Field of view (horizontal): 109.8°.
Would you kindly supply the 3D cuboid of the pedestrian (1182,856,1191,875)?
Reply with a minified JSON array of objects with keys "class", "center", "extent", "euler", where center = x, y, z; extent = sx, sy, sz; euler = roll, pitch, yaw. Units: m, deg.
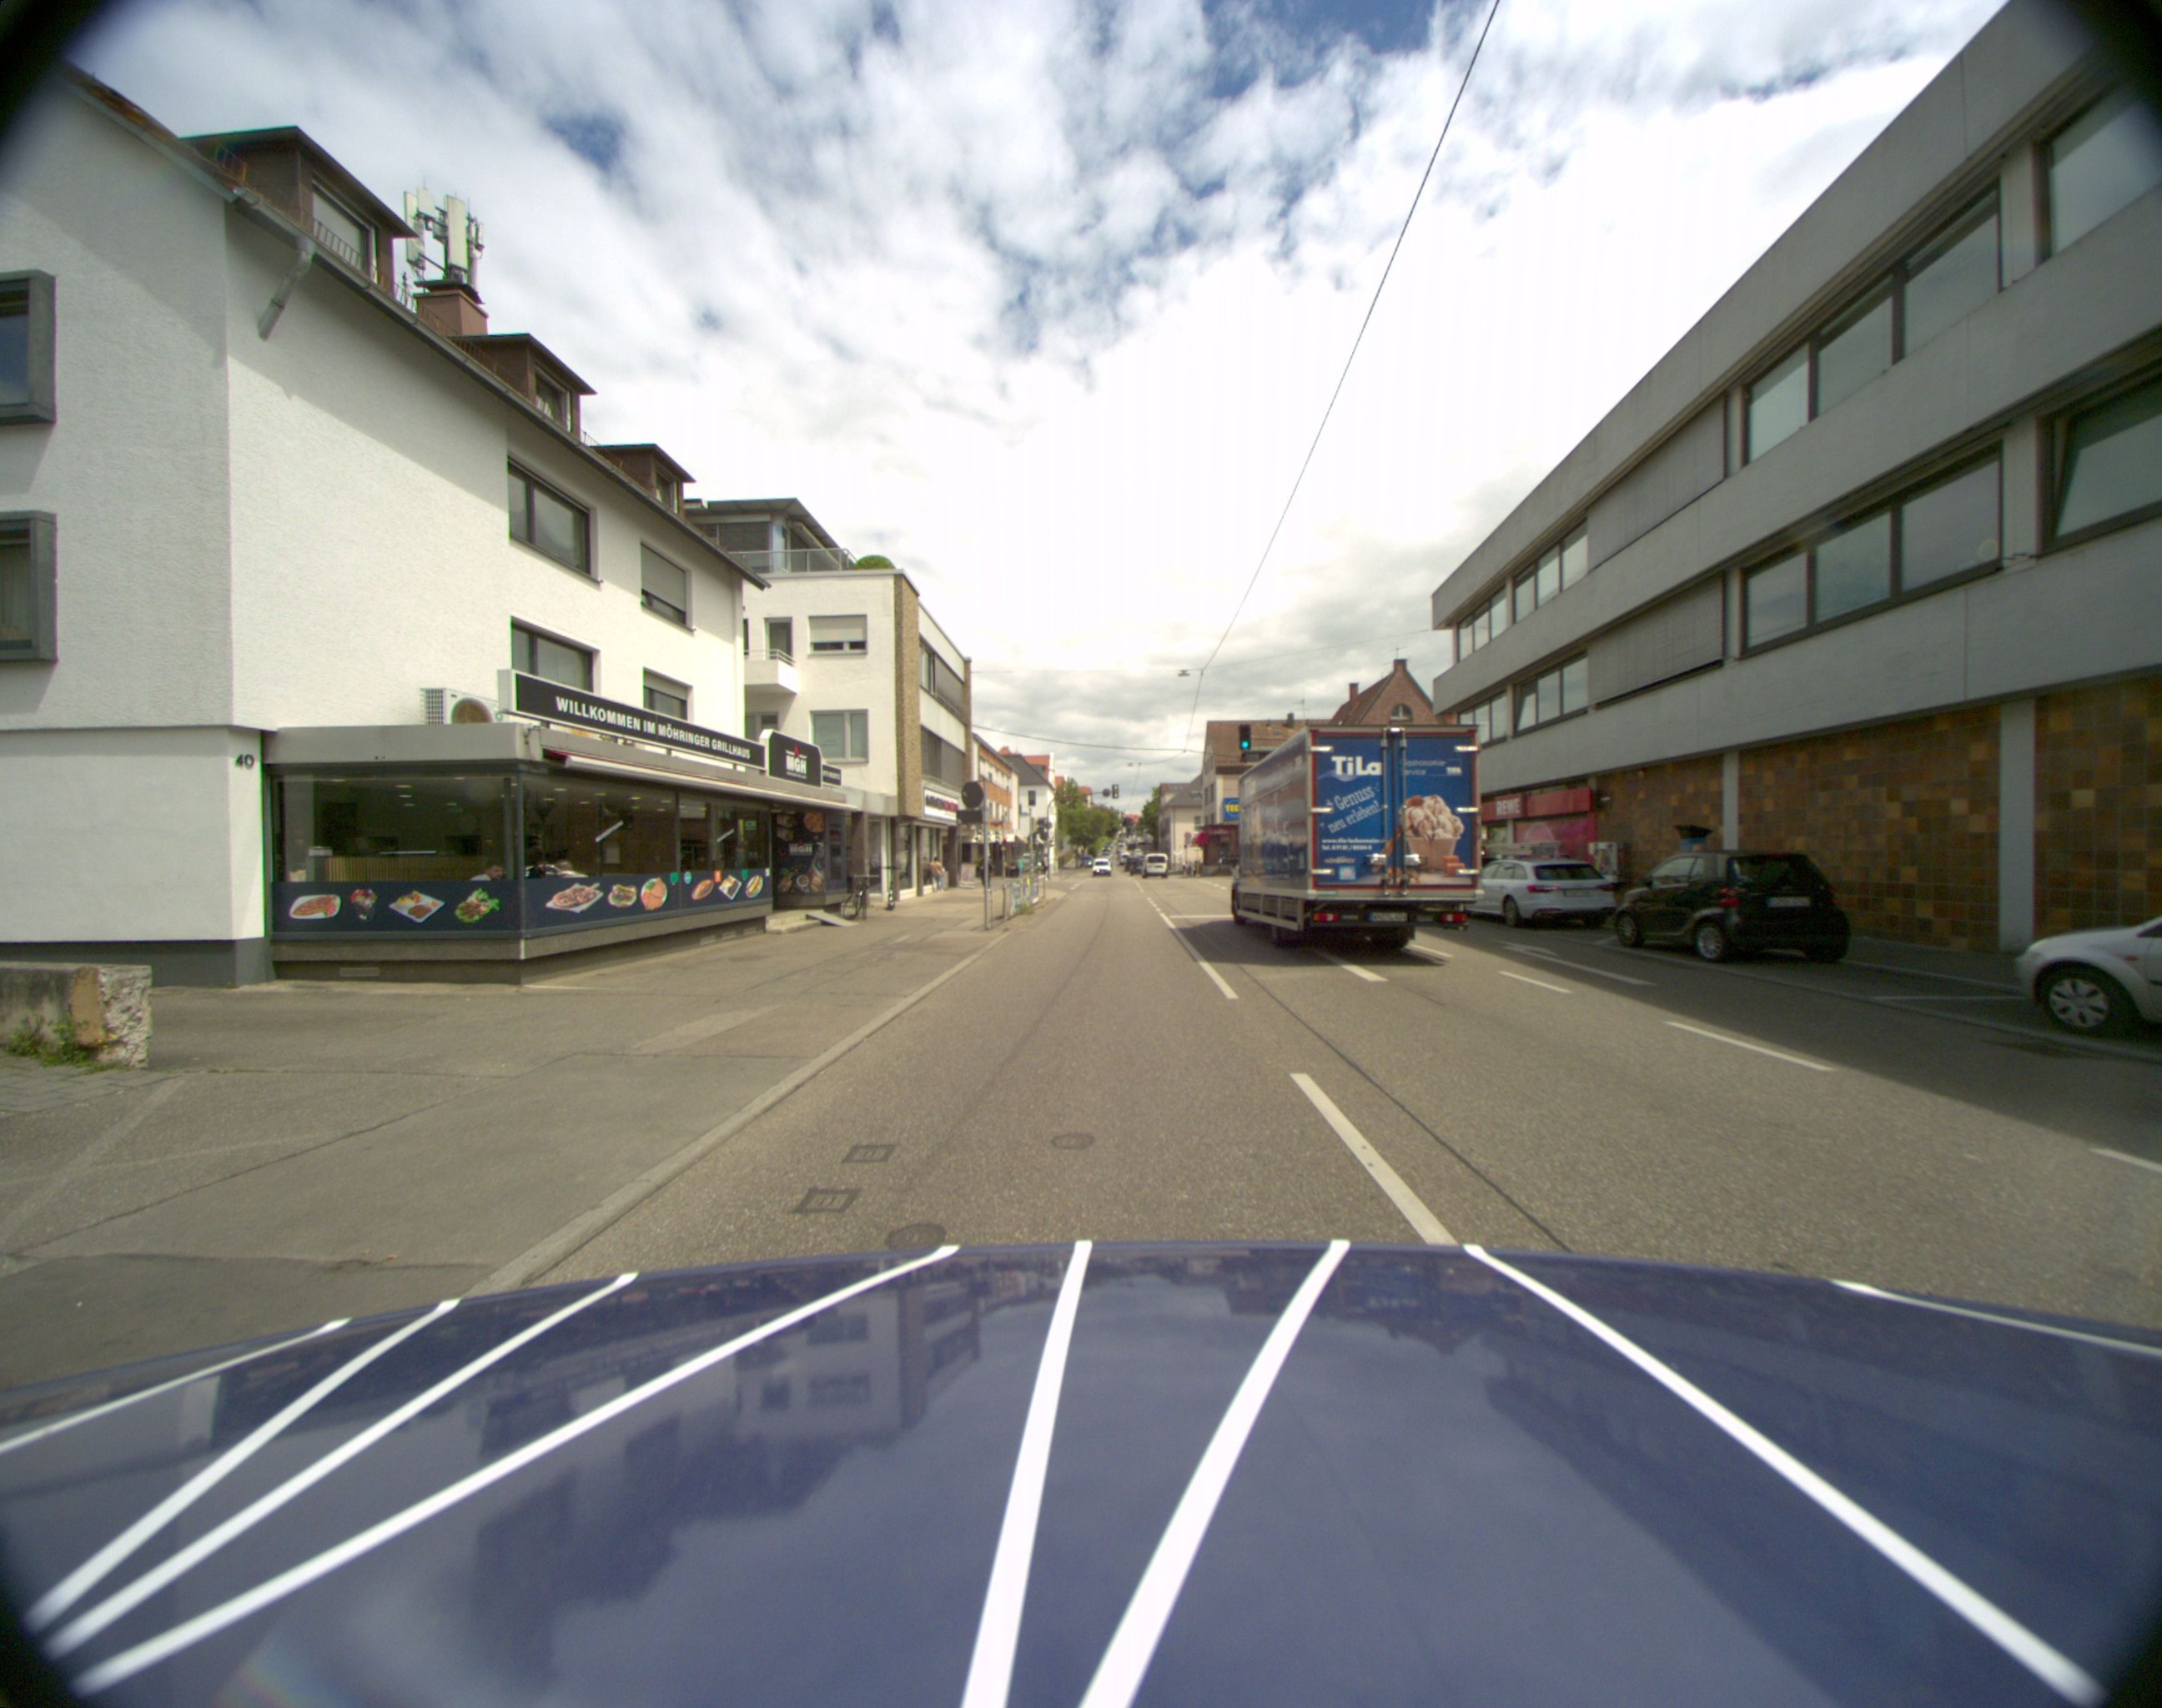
[{"class":"pedestrian","center":[9.331,1.017,67.438],"extent":[0.778,1.685,0.796],"euler":[0,0,9]}]

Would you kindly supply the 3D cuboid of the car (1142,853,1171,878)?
[{"class":"car","center":[5.763,0.850,58.529],"extent":[1.950,1.810,4.279],"euler":[0,0,3]}]

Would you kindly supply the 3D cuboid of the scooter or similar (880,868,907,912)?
[{"class":"scooter or similar","center":[-5.562,1.054,22.582],"extent":[0.690,1.260,1.184],"euler":[0,1,-9]}]

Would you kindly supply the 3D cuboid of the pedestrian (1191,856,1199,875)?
[{"class":"pedestrian","center":[10.062,1.028,67.224],"extent":[0.683,1.706,0.878],"euler":[0,0,9]}]

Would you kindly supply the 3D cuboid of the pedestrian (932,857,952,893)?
[{"class":"pedestrian","center":[-5.817,0.872,31.792],"extent":[0.681,1.490,0.720],"euler":[0,0,3]}]

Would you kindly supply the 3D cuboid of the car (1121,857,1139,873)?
[{"class":"car","center":[5.905,1.289,92.427],"extent":[1.953,1.866,4.877],"euler":[0,1,2]}]

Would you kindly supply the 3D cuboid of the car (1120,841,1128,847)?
[{"class":"car","center":[10.878,-2.551,191.772],"extent":[1.858,1.414,4.193],"euler":[0,0,1]}]

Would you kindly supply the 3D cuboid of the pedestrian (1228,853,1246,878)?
[{"class":"pedestrian","center":[10.948,0.801,53.375],"extent":[0.908,1.713,0.849],"euler":[0,0,-39]}]

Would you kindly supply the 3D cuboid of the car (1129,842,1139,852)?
[{"class":"car","center":[11.594,-1.452,167.559],"extent":[2.110,2.109,4.766],"euler":[0,0,2]}]

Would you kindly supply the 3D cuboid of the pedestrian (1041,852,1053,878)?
[{"class":"pedestrian","center":[-2.385,0.777,53.211],"extent":[0.580,1.820,0.882],"euler":[1,1,19]}]

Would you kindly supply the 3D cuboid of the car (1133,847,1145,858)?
[{"class":"car","center":[10.299,-0.274,135.130],"extent":[2.110,1.778,4.530],"euler":[0,0,2]}]

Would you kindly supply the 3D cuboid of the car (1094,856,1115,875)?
[{"class":"car","center":[2.304,1.124,76.275],"extent":[1.999,1.797,4.765],"euler":[-1,0,1]}]

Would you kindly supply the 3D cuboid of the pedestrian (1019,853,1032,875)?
[{"class":"pedestrian","center":[-3.845,0.694,52.399],"extent":[0.779,1.517,0.819],"euler":[0,0,5]}]

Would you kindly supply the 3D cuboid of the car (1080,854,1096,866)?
[{"class":"car","center":[1.016,0.775,106.265],"extent":[1.998,1.654,4.001],"euler":[0,0,3]}]

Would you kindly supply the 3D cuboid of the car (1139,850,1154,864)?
[{"class":"car","center":[9.935,0.497,115.994],"extent":[2.110,2.109,4.766],"euler":[0,0,2]}]

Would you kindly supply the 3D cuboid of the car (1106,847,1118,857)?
[{"class":"car","center":[5.124,-0.378,125.828],"extent":[1.998,1.654,4.001],"euler":[0,0,3]}]

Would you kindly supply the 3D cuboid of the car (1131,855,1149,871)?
[{"class":"car","center":[5.936,0.909,76.660],"extent":[1.681,1.625,2.834],"euler":[0,0,1]}]

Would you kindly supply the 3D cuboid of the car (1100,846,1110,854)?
[{"class":"car","center":[5.030,-0.850,158.745],"extent":[1.998,1.654,4.001],"euler":[0,0,3]}]

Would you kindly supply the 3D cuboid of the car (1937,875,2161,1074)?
[{"class":"car","center":[8.905,0.920,5.131],"extent":[1.726,1.413,4.149],"euler":[-1,0,4]}]

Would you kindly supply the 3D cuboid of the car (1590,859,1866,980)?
[{"class":"car","center":[9.458,0.877,11.452],"extent":[1.740,1.547,3.058],"euler":[-1,0,6]}]

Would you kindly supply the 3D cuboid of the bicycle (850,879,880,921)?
[{"class":"bicycle","center":[-5.626,1.177,19.866],"extent":[0.476,1.022,1.635],"euler":[0,0,-6]}]

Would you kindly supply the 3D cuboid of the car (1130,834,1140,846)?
[{"class":"car","center":[16.092,-4.155,227.141],"extent":[2.428,3.408,7.638],"euler":[0,0,1]}]

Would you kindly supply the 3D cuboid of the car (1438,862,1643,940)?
[{"class":"car","center":[10.056,0.939,17.195],"extent":[2.048,1.435,4.954],"euler":[-1,0,6]}]

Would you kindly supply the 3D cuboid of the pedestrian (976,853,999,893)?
[{"class":"pedestrian","center":[-3.924,0.777,31.921],"extent":[0.796,1.661,0.807],"euler":[1,0,2]}]

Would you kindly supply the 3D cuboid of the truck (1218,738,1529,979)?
[{"class":"truck","center":[4.458,0.058,13.775],"extent":[2.860,3.075,8.090],"euler":[0,0,3]}]

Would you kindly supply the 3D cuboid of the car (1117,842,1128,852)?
[{"class":"car","center":[8.276,-1.455,152.243],"extent":[1.981,1.985,5.028],"euler":[0,0,1]}]

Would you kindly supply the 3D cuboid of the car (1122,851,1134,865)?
[{"class":"car","center":[6.976,0.601,113.076],"extent":[1.819,1.919,4.113],"euler":[0,0,3]}]

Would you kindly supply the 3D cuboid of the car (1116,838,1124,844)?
[{"class":"car","center":[11.304,-3.784,219.445],"extent":[2.149,1.747,3.974],"euler":[0,0,3]}]
